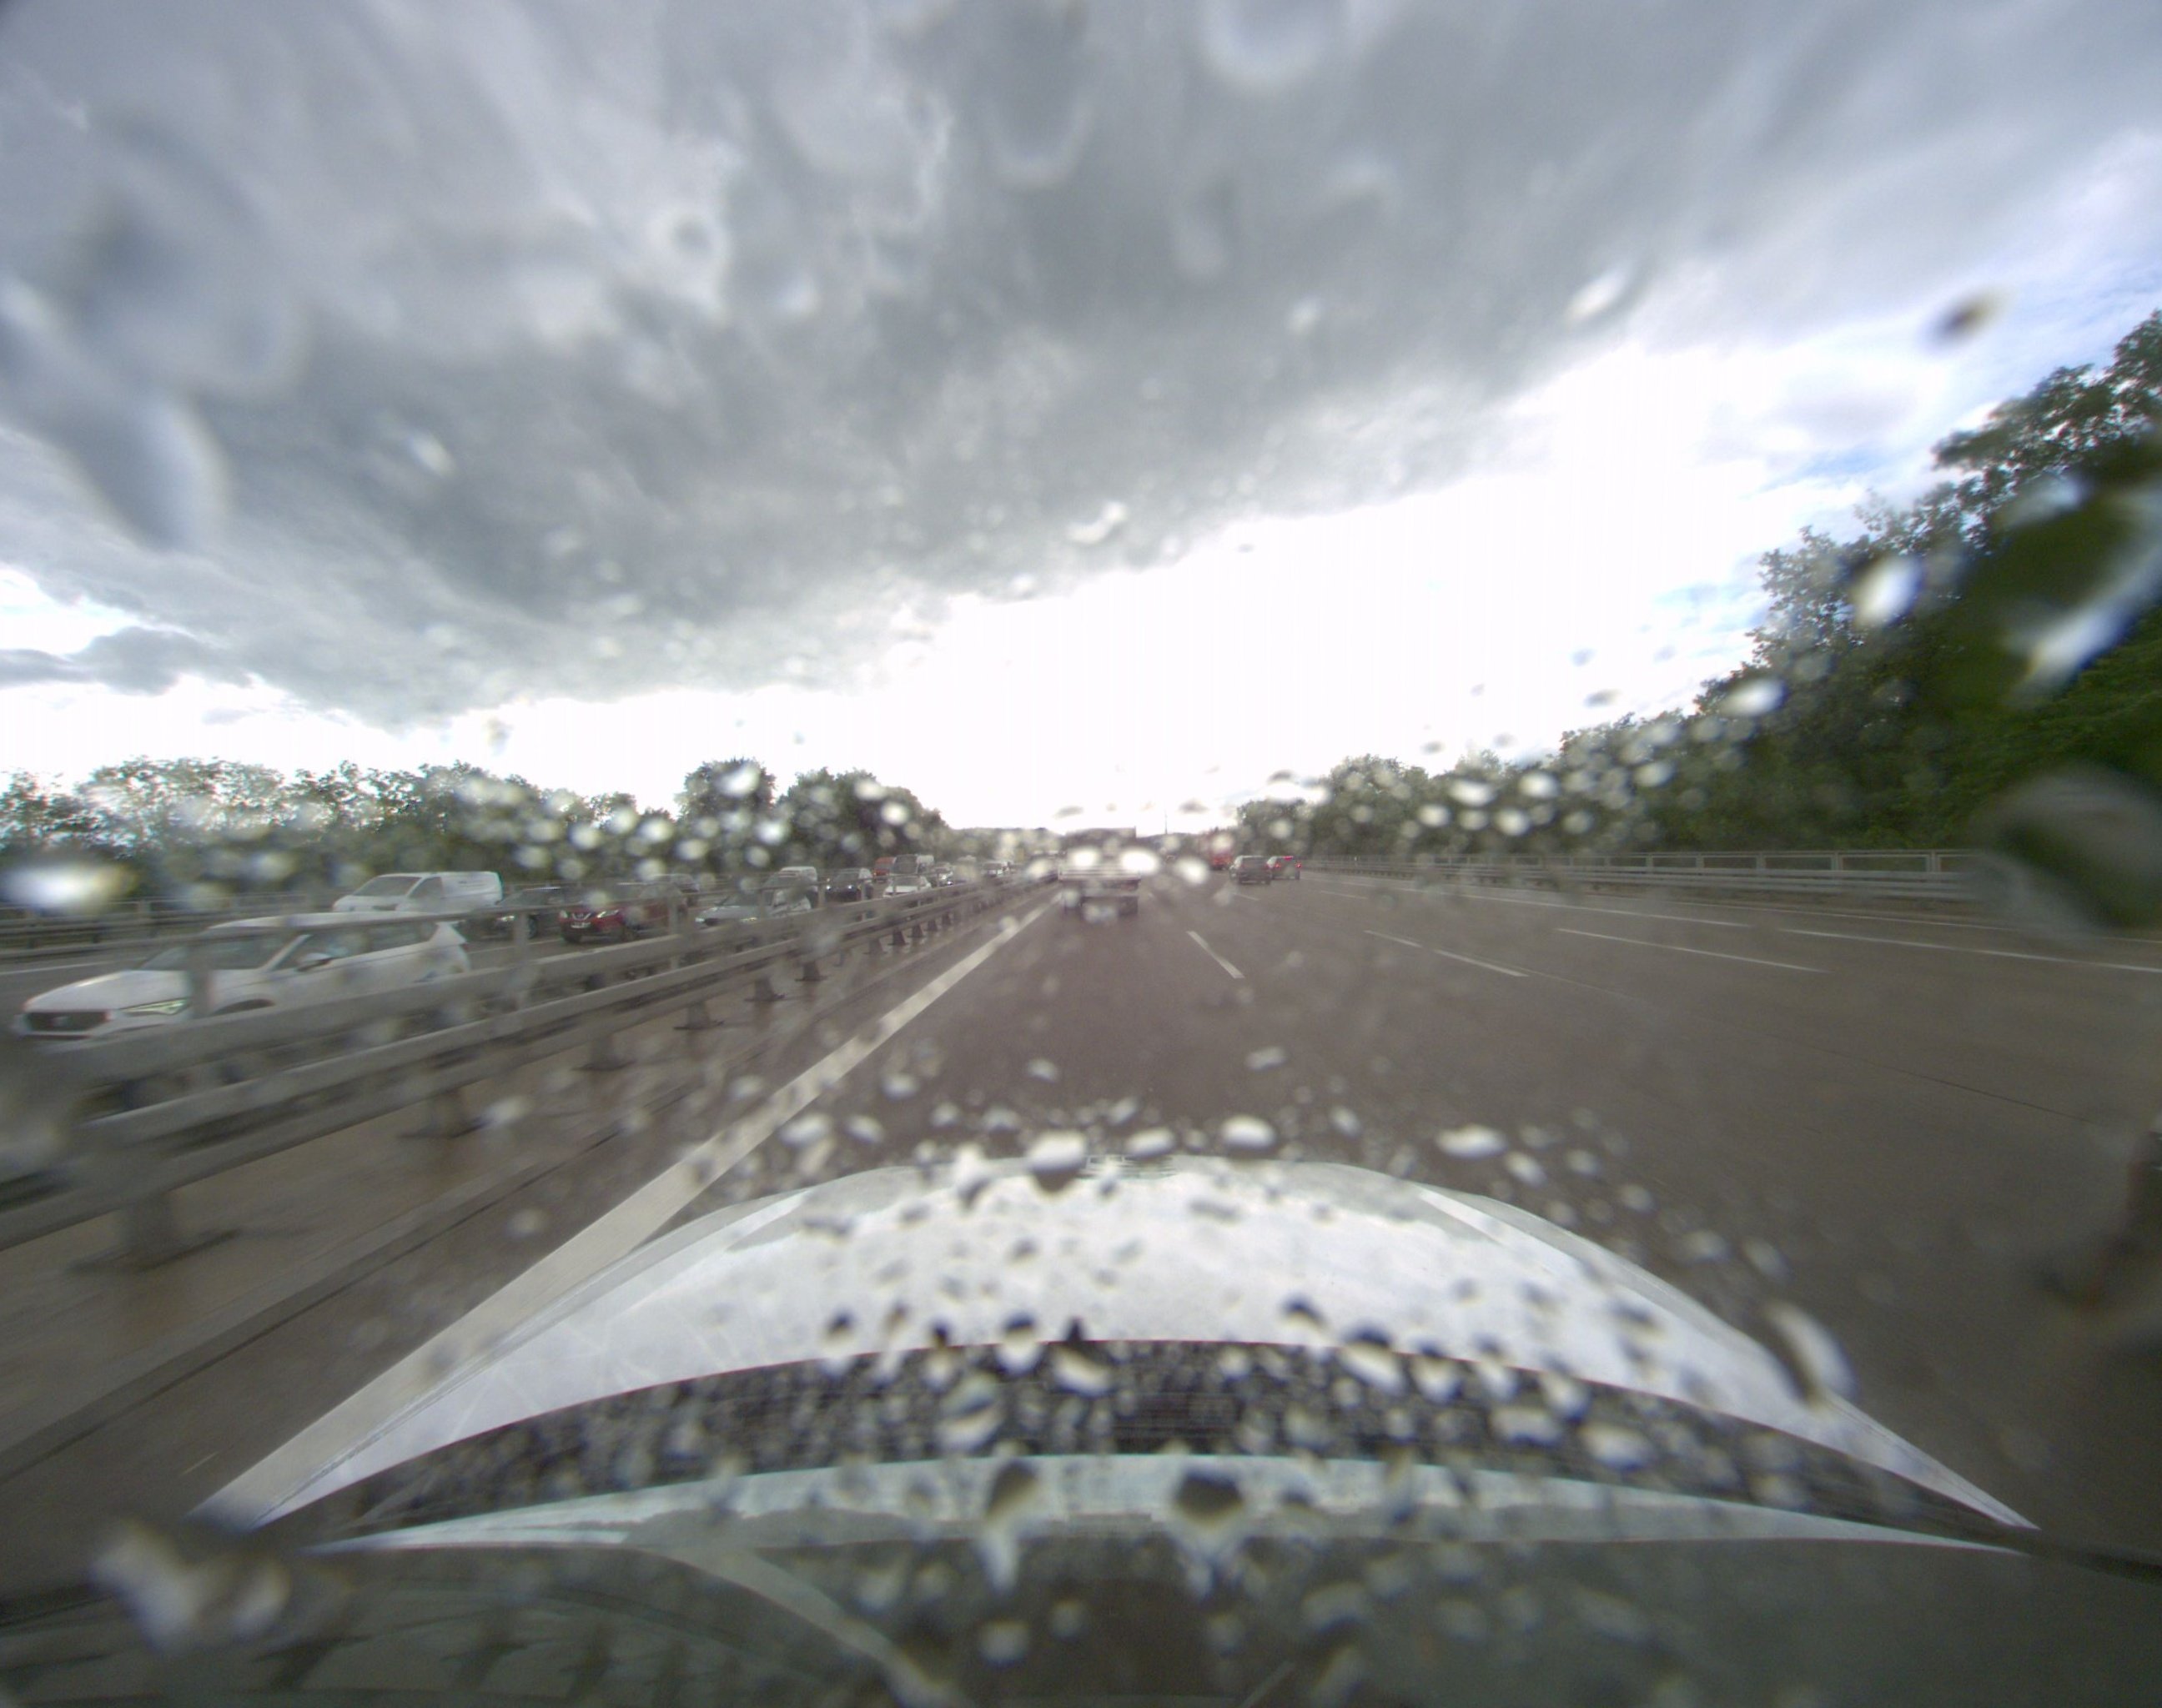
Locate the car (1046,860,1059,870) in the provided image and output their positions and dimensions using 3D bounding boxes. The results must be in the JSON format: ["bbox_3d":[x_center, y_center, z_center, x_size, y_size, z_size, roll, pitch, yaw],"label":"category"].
[{"bbox_3d":[-4.701,1.840,136.782,1.861,1.670,5.174,-2,0,1],"label":"car"}]

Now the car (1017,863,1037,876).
[{"bbox_3d":[-6.401,1.832,97.399,1.867,1.392,5.366,-2,0,1],"label":"car"}]

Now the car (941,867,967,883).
[{"bbox_3d":[-12.257,2.043,78.862,1.671,1.409,5.016,-2,0,1],"label":"car"}]

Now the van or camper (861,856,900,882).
[{"bbox_3d":[-19.212,1.402,78.413,2.038,2.330,5.937,-2,0,2],"label":"van or camper"}]

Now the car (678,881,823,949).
[{"bbox_3d":[-9.213,1.626,23.226,1.945,1.514,5.071,-2,0,1],"label":"car"}]

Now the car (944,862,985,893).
[{"bbox_3d":[-7.867,1.533,55.450,1.941,1.949,4.726,-2,0,1],"label":"car"}]

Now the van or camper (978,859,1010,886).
[{"bbox_3d":[-7.270,1.525,68.472,1.976,2.068,5.644,-2,0,1],"label":"van or camper"}]

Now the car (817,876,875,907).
[{"bbox_3d":[-12.664,1.980,44.134,1.825,1.475,4.033,-2,0,1],"label":"car"}]

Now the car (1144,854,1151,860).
[{"bbox_3d":[19.084,0.872,234.437,1.984,1.739,4.004,0,-1,4],"label":"car"}]

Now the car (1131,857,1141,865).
[{"bbox_3d":[11.352,1.418,168.890,1.964,1.699,4.001,-1,0,2],"label":"car"}]

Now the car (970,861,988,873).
[{"bbox_3d":[-13.538,1.731,108.228,1.671,1.579,4.000,-2,0,1],"label":"car"}]

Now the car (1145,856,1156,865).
[{"bbox_3d":[14.879,1.394,173.952,2.037,1.699,4.001,-1,0,2],"label":"car"}]

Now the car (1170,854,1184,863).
[{"bbox_3d":[17.887,0.813,152.003,2.097,1.605,5.067,-1,0,2],"label":"car"}]

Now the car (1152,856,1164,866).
[{"bbox_3d":[14.447,1.323,153.168,2.089,1.699,4.001,-1,0,2],"label":"car"}]

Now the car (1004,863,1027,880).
[{"bbox_3d":[-6.723,1.798,84.555,1.819,1.675,5.358,-2,0,1],"label":"car"}]

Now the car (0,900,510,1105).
[{"bbox_3d":[-9.791,1.543,10.131,1.783,1.627,4.928,-2,0,1],"label":"car"}]

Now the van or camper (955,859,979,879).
[{"bbox_3d":[-16.637,2.098,119.030,2.194,2.765,7.232,-2,0,1],"label":"van or camper"}]

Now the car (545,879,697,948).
[{"bbox_3d":[-13.223,1.641,23.764,1.825,1.648,4.420,-2,0,1],"label":"car"}]

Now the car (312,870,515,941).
[{"bbox_3d":[-21.474,1.564,26.605,1.995,1.944,5.423,-2,0,2],"label":"car"}]

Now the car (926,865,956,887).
[{"bbox_3d":[-11.586,1.795,67.592,1.671,1.636,4.000,-2,0,1],"label":"car"}]

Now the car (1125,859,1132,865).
[{"bbox_3d":[13.607,2.314,232.172,1.805,1.446,4.002,-2,-1,2],"label":"car"}]

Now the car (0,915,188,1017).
[{"bbox_3d":[-17.109,1.805,12.689,1.492,1.366,4.325,-2,0,2],"label":"car"}]

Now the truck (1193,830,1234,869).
[{"bbox_3d":[14.683,-0.421,91.380,3.138,4.003,15.655,-1,0,4],"label":"truck"}]

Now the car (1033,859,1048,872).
[{"bbox_3d":[-5.950,1.726,119.753,1.859,1.826,5.709,-2,0,1],"label":"car"}]

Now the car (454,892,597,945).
[{"bbox_3d":[-16.756,1.912,24.836,1.492,1.267,4.002,-2,0,2],"label":"car"}]

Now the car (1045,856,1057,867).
[{"bbox_3d":[-7.567,1.921,205.679,2.147,2.504,6.778,-2,-1,3],"label":"car"}]

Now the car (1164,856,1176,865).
[{"bbox_3d":[19.075,1.362,174.368,2.037,1.699,5.009,-1,0,2],"label":"car"}]

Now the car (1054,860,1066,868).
[{"bbox_3d":[-3.951,1.812,151.141,1.987,1.463,4.842,-2,0,1],"label":"car"}]

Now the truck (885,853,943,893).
[{"bbox_3d":[-11.917,1.313,58.820,2.138,2.602,8.757,-2,0,1],"label":"truck"}]

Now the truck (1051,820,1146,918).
[{"bbox_3d":[0.552,0.375,23.796,2.344,2.408,7.361,0,0,2],"label":"truck"}]

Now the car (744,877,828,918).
[{"bbox_3d":[-12.648,1.818,35.288,1.825,1.475,4.577,-2,0,2],"label":"car"}]

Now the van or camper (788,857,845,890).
[{"bbox_3d":[-19.700,1.390,60.976,1.932,2.305,6.237,-2,0,2],"label":"van or camper"}]

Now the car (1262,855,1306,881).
[{"bbox_3d":[12.957,0.862,52.199,1.808,1.543,4.359,-1,0,2],"label":"car"}]

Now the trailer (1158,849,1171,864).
[{"bbox_3d":[23.696,0.758,231.872,3.317,4.176,11.854,0,-1,5],"label":"trailer"}]

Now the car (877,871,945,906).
[{"bbox_3d":[-8.418,1.663,40.886,1.824,1.475,5.928,-2,0,3],"label":"car"}]

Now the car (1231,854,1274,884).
[{"bbox_3d":[9.335,0.815,44.474,1.784,1.562,3.725,-1,-1,4],"label":"car"}]

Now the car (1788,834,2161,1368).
[{"bbox_3d":[3.714,0.649,1.142,1.658,1.440,4.406,-1,0,1],"label":"car"}]
